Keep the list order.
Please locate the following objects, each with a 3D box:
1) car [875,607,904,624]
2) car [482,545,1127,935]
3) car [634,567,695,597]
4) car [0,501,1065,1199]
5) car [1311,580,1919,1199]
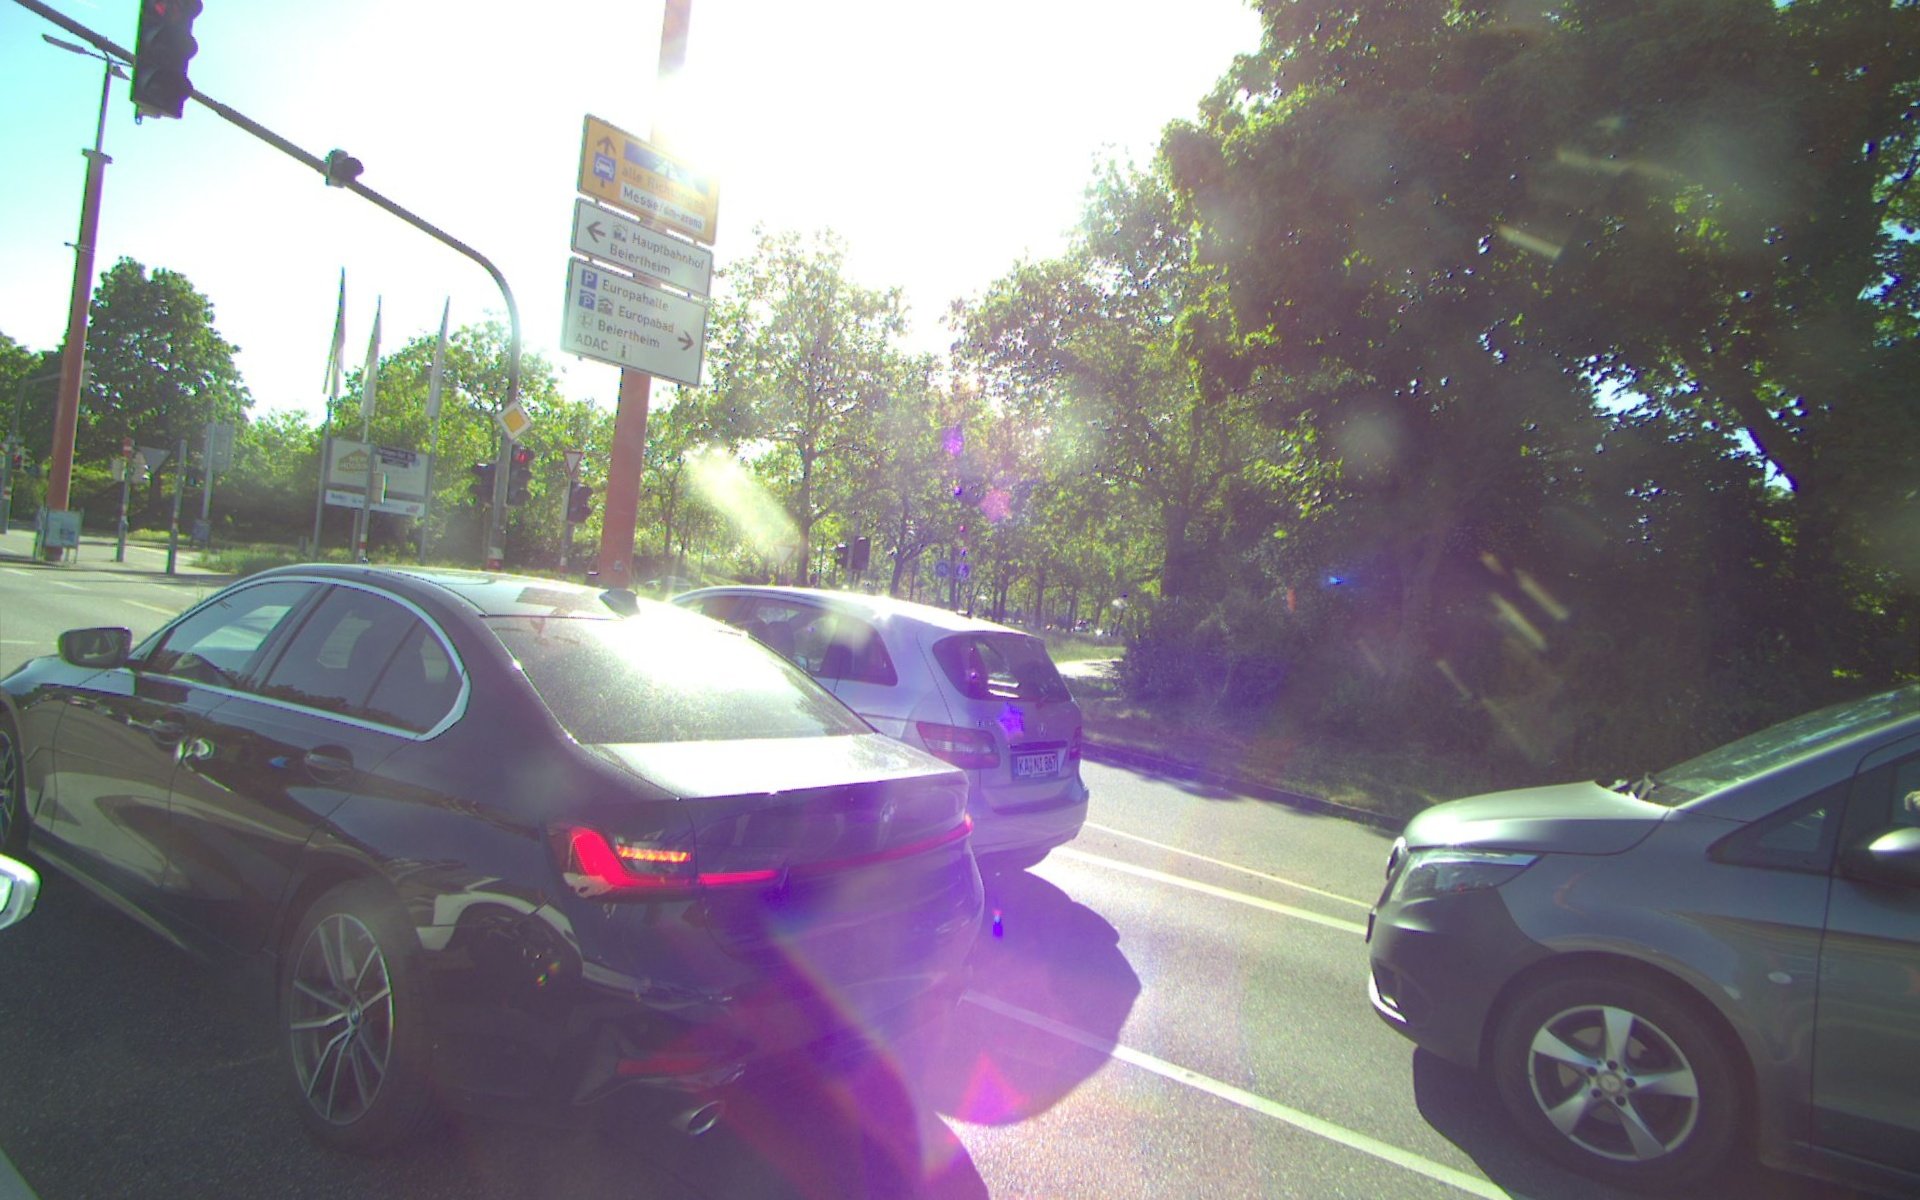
[{"bbox_3d":[-8.661,1.919,124.250,1.737,1.655,4.297,7,-1,23],"label":"car"},{"bbox_3d":[-1.095,0.693,6.515,3.784,1.626,1.719,6,-2,32],"label":"car"},{"bbox_3d":[-23.274,-1.401,79.298,1.743,1.654,4.287,6,-2,37],"label":"car"},{"bbox_3d":[-1.957,0.577,3.779,4.226,1.458,1.766,6,-2,34],"label":"car"},{"bbox_3d":[3.969,1.169,3.087,5.021,1.875,1.806,7,0,34],"label":"car"}]
